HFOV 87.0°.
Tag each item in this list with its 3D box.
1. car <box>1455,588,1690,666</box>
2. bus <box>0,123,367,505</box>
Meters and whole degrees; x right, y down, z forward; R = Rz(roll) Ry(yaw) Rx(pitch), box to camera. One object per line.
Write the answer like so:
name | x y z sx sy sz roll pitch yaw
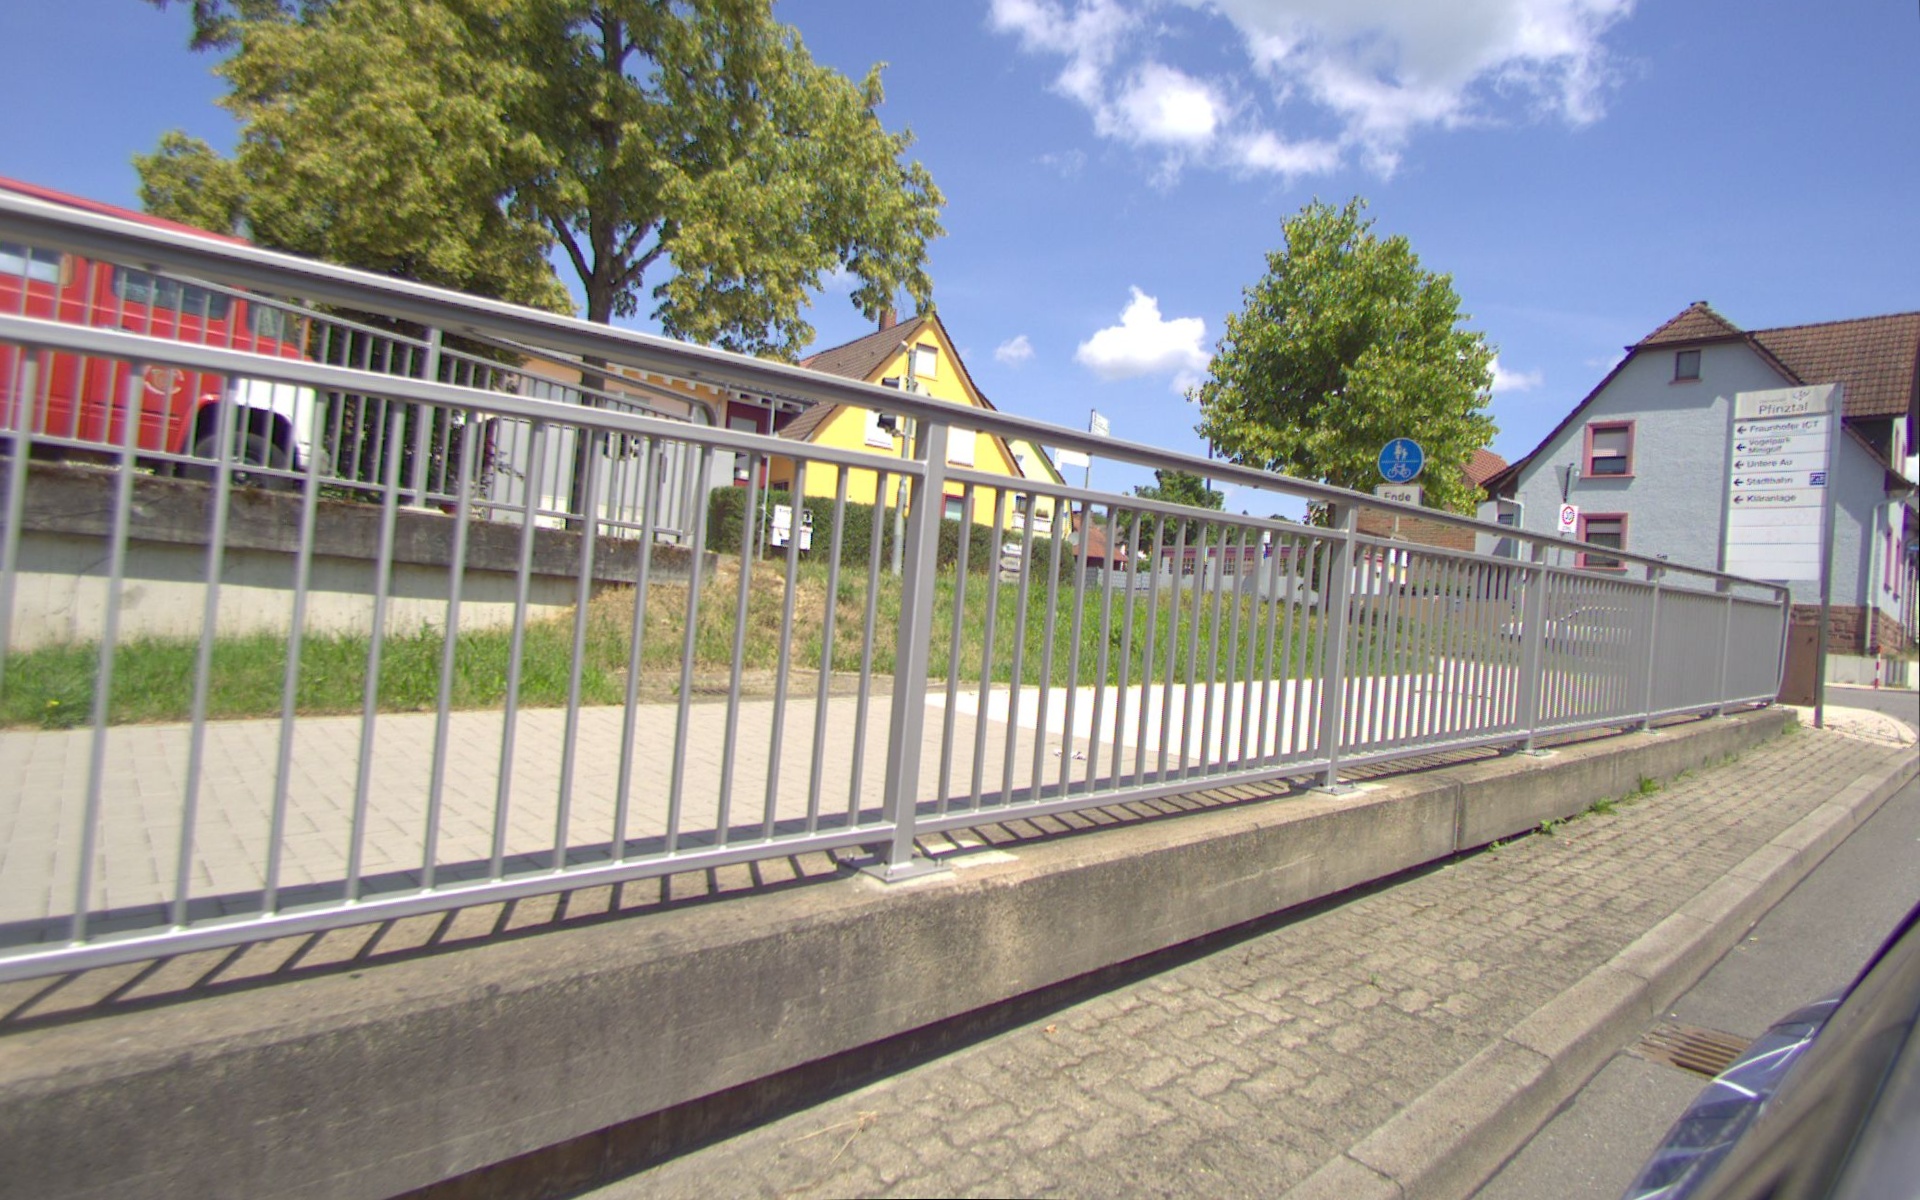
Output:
car | 15.148 0.636 25.202 4.809 1.664 1.657 1 -3 40
bus | -7.910 -2.297 7.801 5.271 2.396 2.192 6 -1 -43
